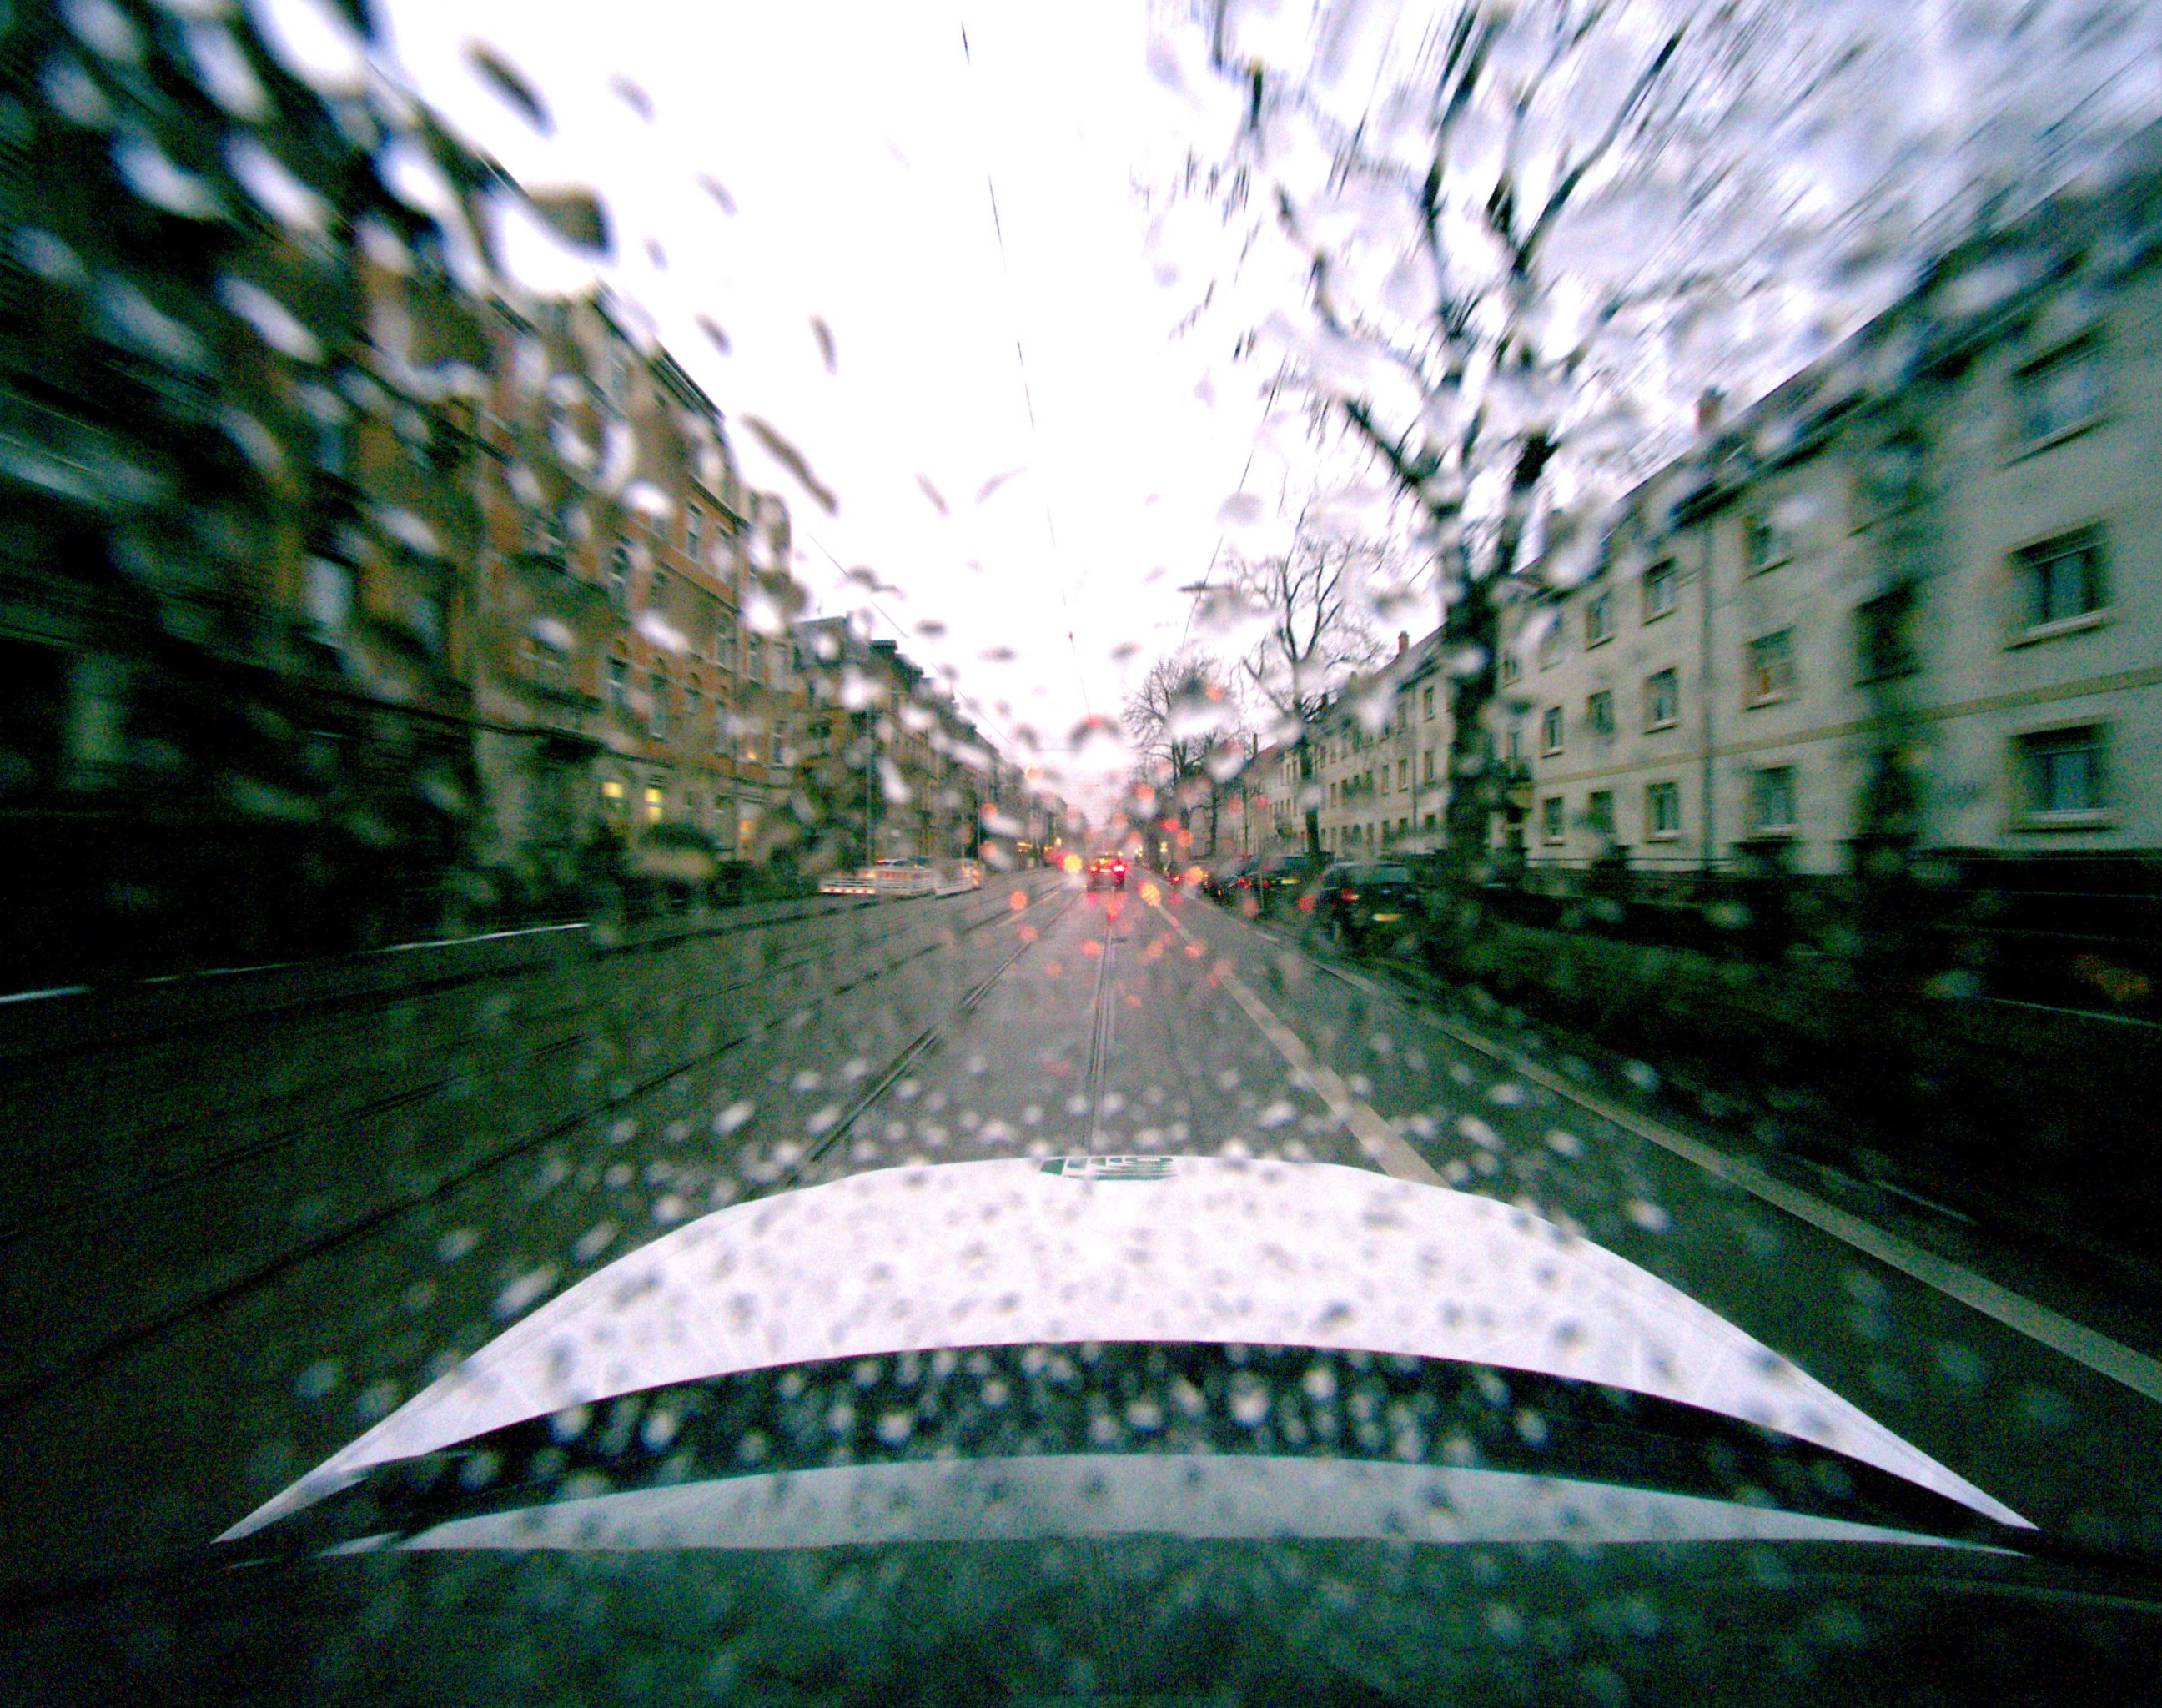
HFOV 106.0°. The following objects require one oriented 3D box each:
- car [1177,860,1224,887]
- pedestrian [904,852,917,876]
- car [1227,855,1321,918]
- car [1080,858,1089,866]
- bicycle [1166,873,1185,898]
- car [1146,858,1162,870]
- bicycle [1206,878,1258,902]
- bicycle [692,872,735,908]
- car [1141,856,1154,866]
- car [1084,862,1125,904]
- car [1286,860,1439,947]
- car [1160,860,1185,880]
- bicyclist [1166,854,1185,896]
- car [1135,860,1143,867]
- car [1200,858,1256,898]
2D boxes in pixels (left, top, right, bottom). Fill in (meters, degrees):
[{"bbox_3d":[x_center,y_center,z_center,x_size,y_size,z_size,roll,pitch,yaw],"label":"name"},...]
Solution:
[{"bbox_3d":[6.807,1.074,46.770,1.874,1.420,4.341,-2,0,-2],"label":"car"},{"bbox_3d":[-12.648,0.747,60.501,0.723,1.773,0.763,0,-1,-30],"label":"pedestrian"},{"bbox_3d":[5.791,0.920,25.044,1.898,1.727,4.904,0,0,2],"label":"car"},{"bbox_3d":[0.830,1.793,183.563,1.916,1.720,4.002,0,0,2],"label":"car"},{"bbox_3d":[3.987,1.315,34.425,0.728,1.007,1.765,0,-1,4],"label":"bicycle"},{"bbox_3d":[9.210,1.278,102.798,1.778,1.509,4.111,0,0,3],"label":"car"},{"bbox_3d":[5.995,1.422,32.364,2.000,0.916,0.466,-1,0,11],"label":"bicycle"},{"bbox_3d":[-10.156,0.981,22.557,0.262,0.915,1.686,5,0,2],"label":"bicycle"},{"bbox_3d":[9.864,1.013,120.827,1.778,1.509,4.111,0,0,3],"label":"car"},{"bbox_3d":[1.203,1.378,40.448,1.794,1.871,4.022,2,0,4],"label":"car"},{"bbox_3d":[5.426,0.875,16.220,1.778,1.509,3.989,0,0,2],"label":"car"},{"bbox_3d":[7.250,1.236,65.027,1.777,1.509,4.112,0,0,4],"label":"car"},{"bbox_3d":[3.993,0.873,34.401,0.727,1.736,0.766,0,-1,3],"label":"bicyclist"},{"bbox_3d":[12.791,2.073,179.663,1.778,1.509,4.111,0,0,3],"label":"car"},{"bbox_3d":[6.394,1.001,35.825,1.897,1.610,4.565,0,0,4],"label":"car"}]
